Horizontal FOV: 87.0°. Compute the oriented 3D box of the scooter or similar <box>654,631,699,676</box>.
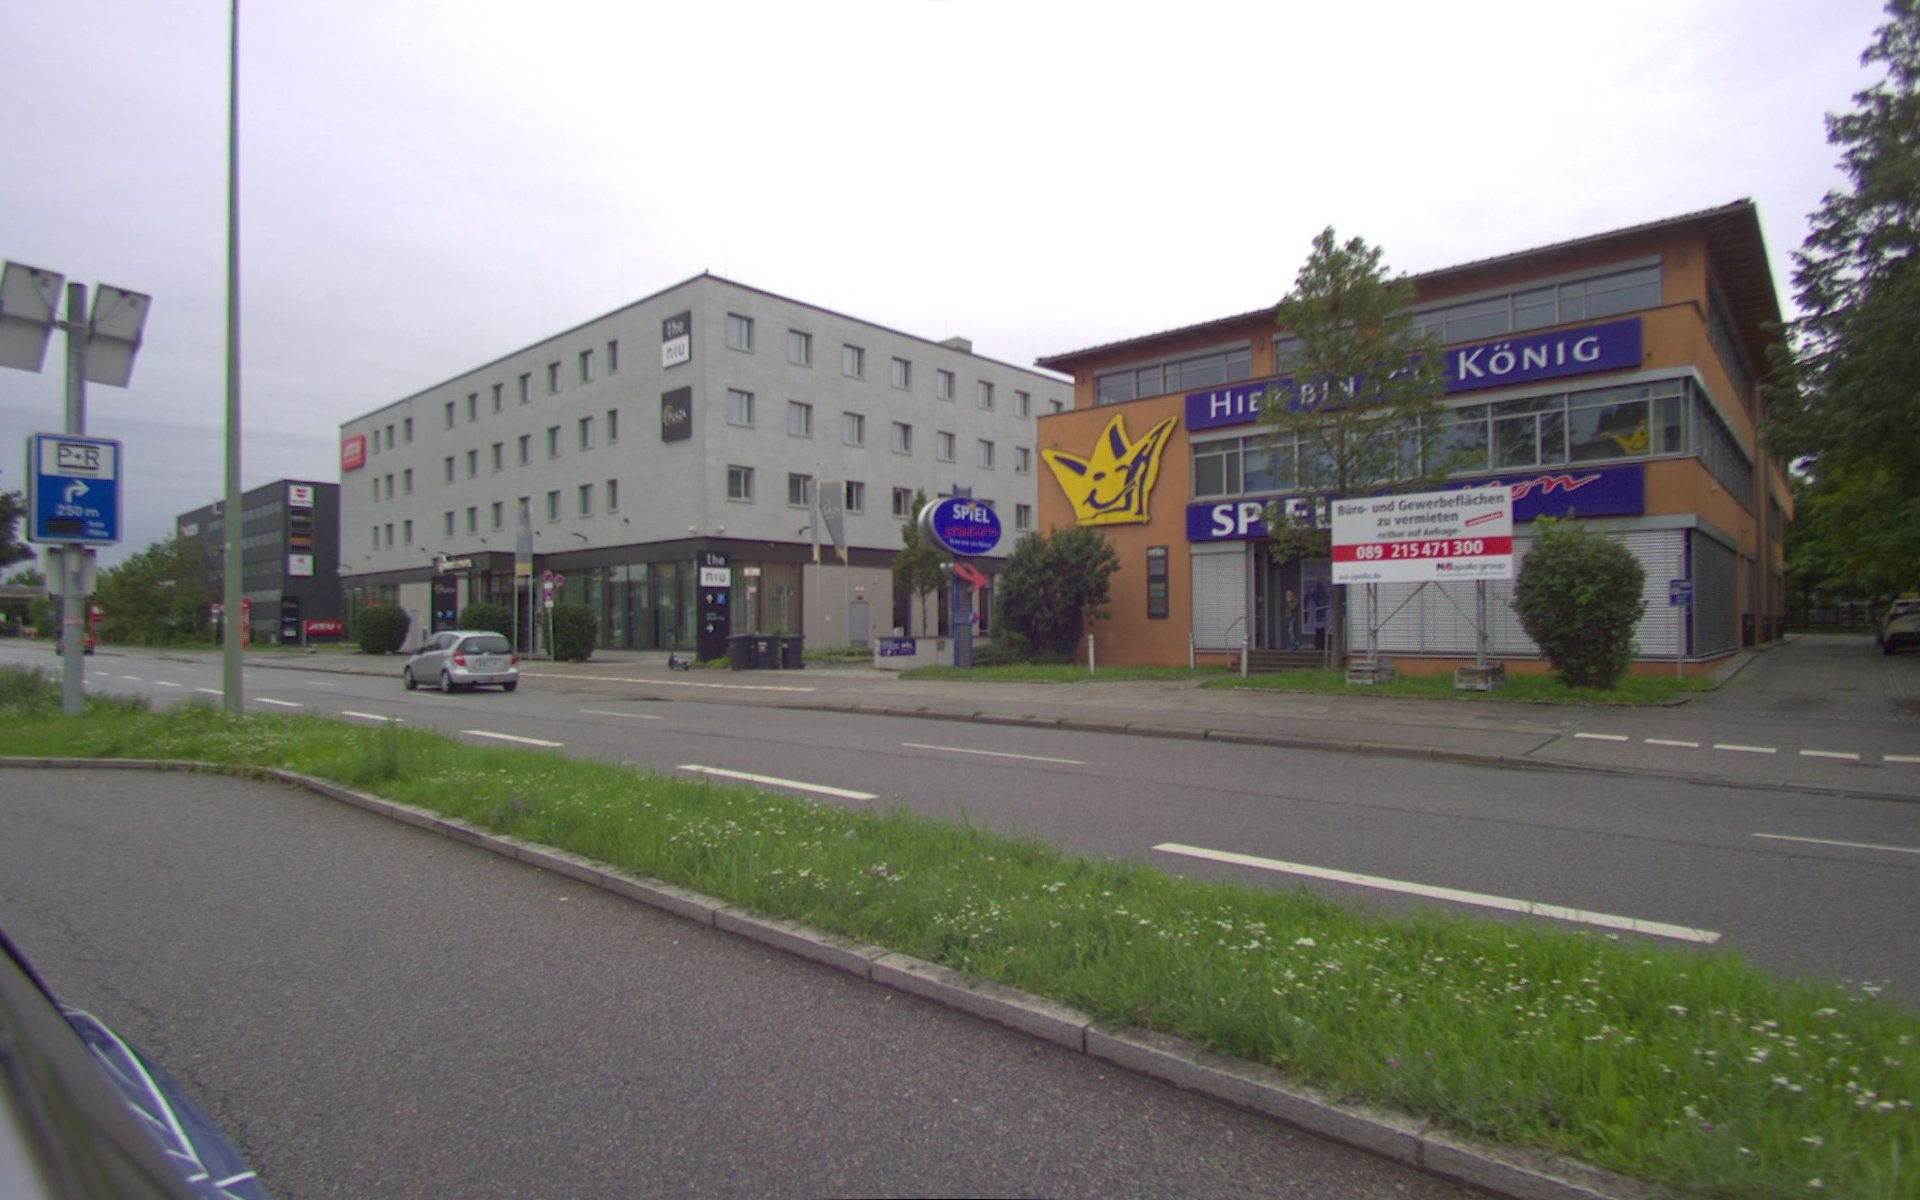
[{"bbox_3d":[-8.592,1.606,30.700,1.403,1.287,0.579,-2,3,43],"label":"scooter or similar"}]

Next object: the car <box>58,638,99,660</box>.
[{"bbox_3d":[-64.322,3.585,73.815,4.302,1.560,1.717,-2,-3,42],"label":"car"}]

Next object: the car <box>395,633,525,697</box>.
[{"bbox_3d":[-13.267,1.667,26.762,4.027,1.569,1.794,-2,-3,44],"label":"car"}]

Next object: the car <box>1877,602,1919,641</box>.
[{"bbox_3d":[38.884,0.854,41.440,1.766,1.495,3.842,-2,-1,39],"label":"car"}]

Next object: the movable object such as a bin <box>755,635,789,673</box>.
[{"bbox_3d":[-5.510,1.573,29.653,0.655,1.086,0.729,-2,-1,42],"label":"movable object such as a bin"}]

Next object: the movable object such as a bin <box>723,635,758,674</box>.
[{"bbox_3d":[-6.434,1.594,29.693,0.655,1.086,0.729,-2,-1,42],"label":"movable object such as a bin"}]

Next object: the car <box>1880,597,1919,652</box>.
[{"bbox_3d":[28.028,0.667,29.335,1.766,1.495,3.842,-2,-1,39],"label":"car"}]

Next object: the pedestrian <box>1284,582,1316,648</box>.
[{"bbox_3d":[9.044,0.388,26.906,0.660,1.725,0.653,-2,-1,31],"label":"pedestrian"}]
